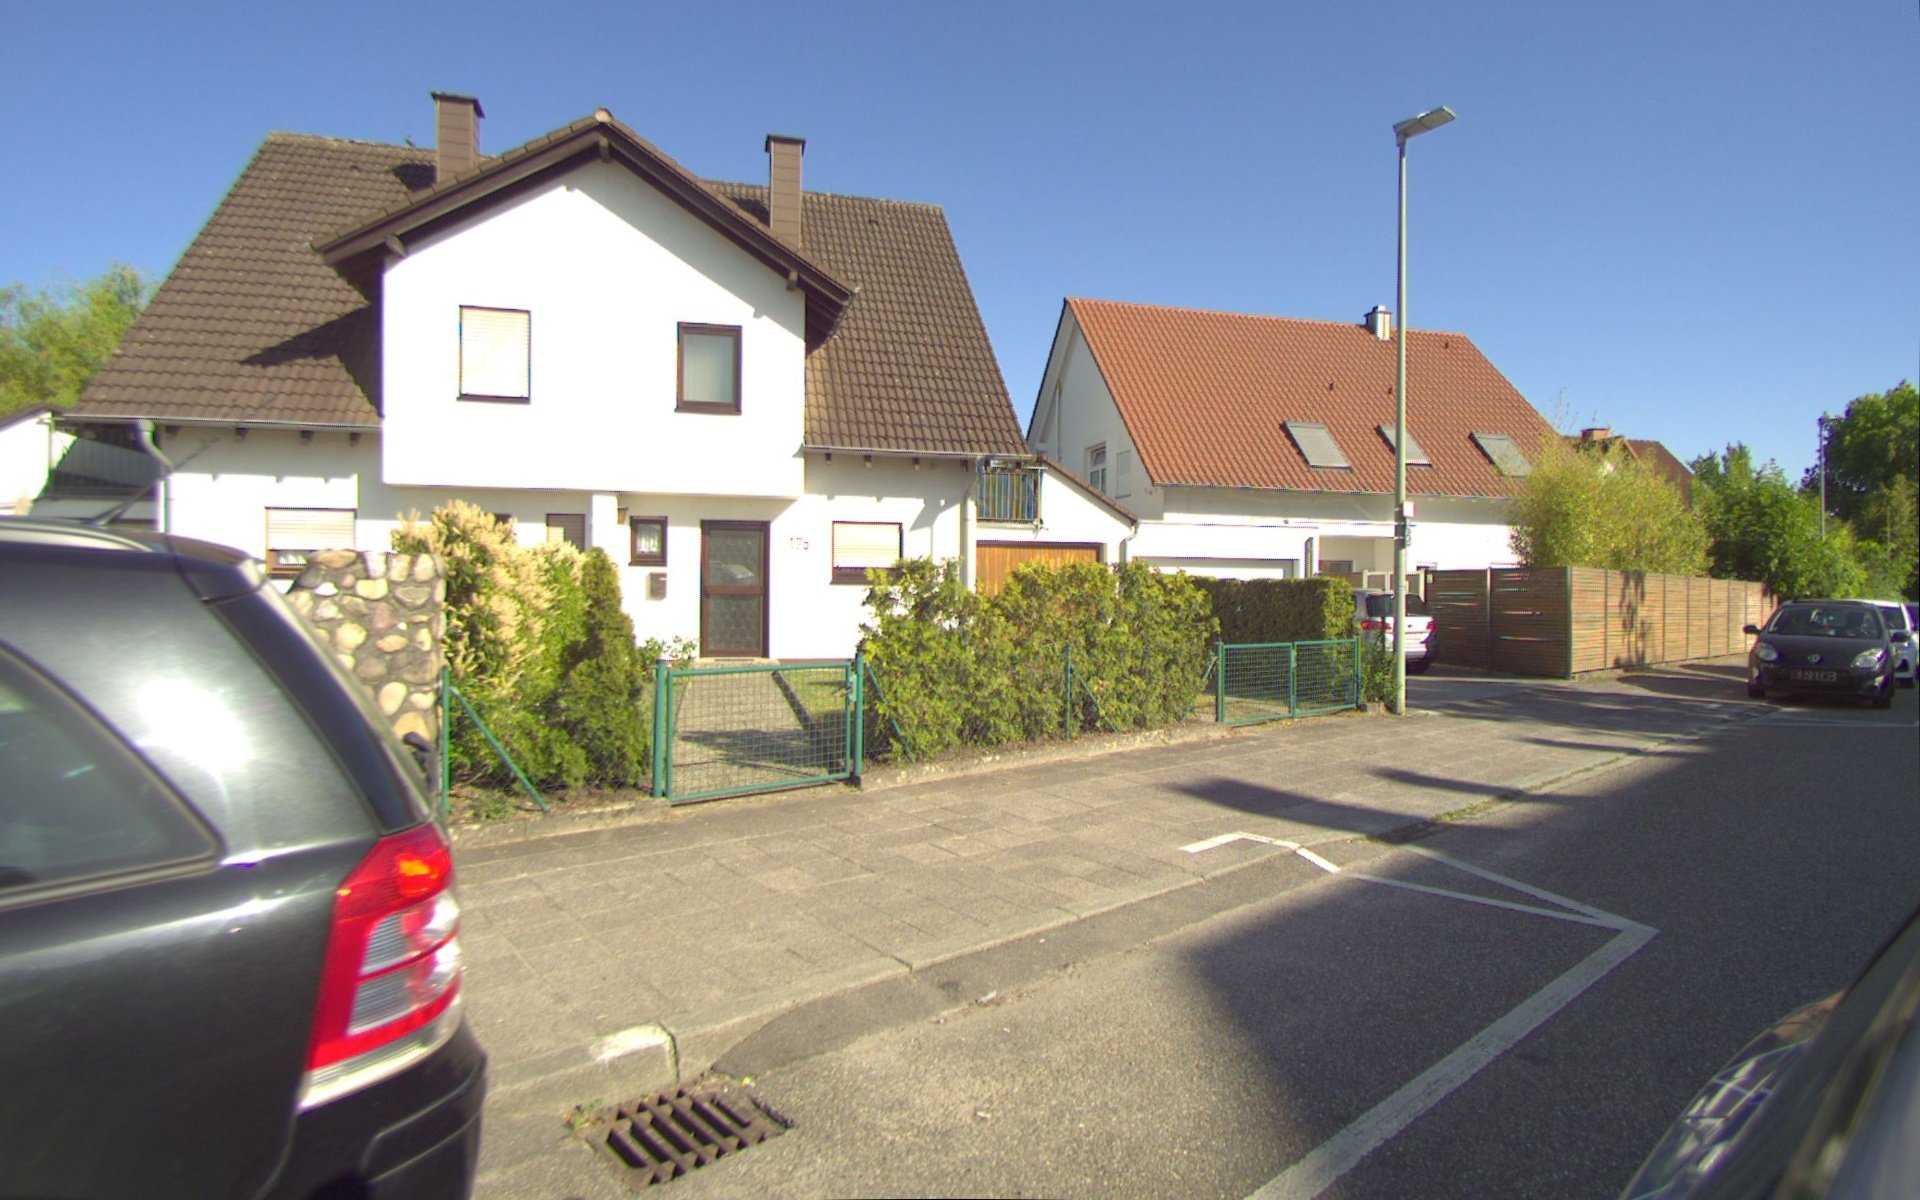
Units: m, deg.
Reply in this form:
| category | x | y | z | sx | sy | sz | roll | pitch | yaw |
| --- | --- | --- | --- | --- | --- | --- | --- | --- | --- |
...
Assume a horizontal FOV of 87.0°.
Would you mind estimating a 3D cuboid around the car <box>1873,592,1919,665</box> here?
| category | x | y | z | sx | sy | sz | roll | pitch | yaw |
| --- | --- | --- | --- | --- | --- | --- | --- | --- | --- |
| car | 21.447 | 0.604 | 22.159 | 3.820 | 1.512 | 1.645 | 0 | 1 | -40 |

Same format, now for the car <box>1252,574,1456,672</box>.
| category | x | y | z | sx | sy | sz | roll | pitch | yaw |
| --- | --- | --- | --- | --- | --- | --- | --- | --- | --- |
| car | 7.519 | 0.376 | 19.763 | 1.675 | 1.706 | 4.008 | 0 | 1 | -14 |

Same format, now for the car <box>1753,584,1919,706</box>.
| category | x | y | z | sx | sy | sz | roll | pitch | yaw |
| --- | --- | --- | --- | --- | --- | --- | --- | --- | --- |
| car | 13.392 | 0.597 | 15.383 | 3.754 | 1.621 | 1.657 | 0 | 0 | -45 |

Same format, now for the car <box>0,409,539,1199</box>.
| category | x | y | z | sx | sy | sz | roll | pitch | yaw |
| --- | --- | --- | --- | --- | --- | --- | --- | --- | --- |
| car | -2.854 | 0.613 | 0.945 | 4.227 | 1.680 | 1.779 | 0 | 0 | -40 |

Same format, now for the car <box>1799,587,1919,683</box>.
| category | x | y | z | sx | sy | sz | roll | pitch | yaw |
| --- | --- | --- | --- | --- | --- | --- | --- | --- | --- |
| car | 16.967 | 0.583 | 18.839 | 3.754 | 1.621 | 1.725 | 0 | 0 | -45 |
